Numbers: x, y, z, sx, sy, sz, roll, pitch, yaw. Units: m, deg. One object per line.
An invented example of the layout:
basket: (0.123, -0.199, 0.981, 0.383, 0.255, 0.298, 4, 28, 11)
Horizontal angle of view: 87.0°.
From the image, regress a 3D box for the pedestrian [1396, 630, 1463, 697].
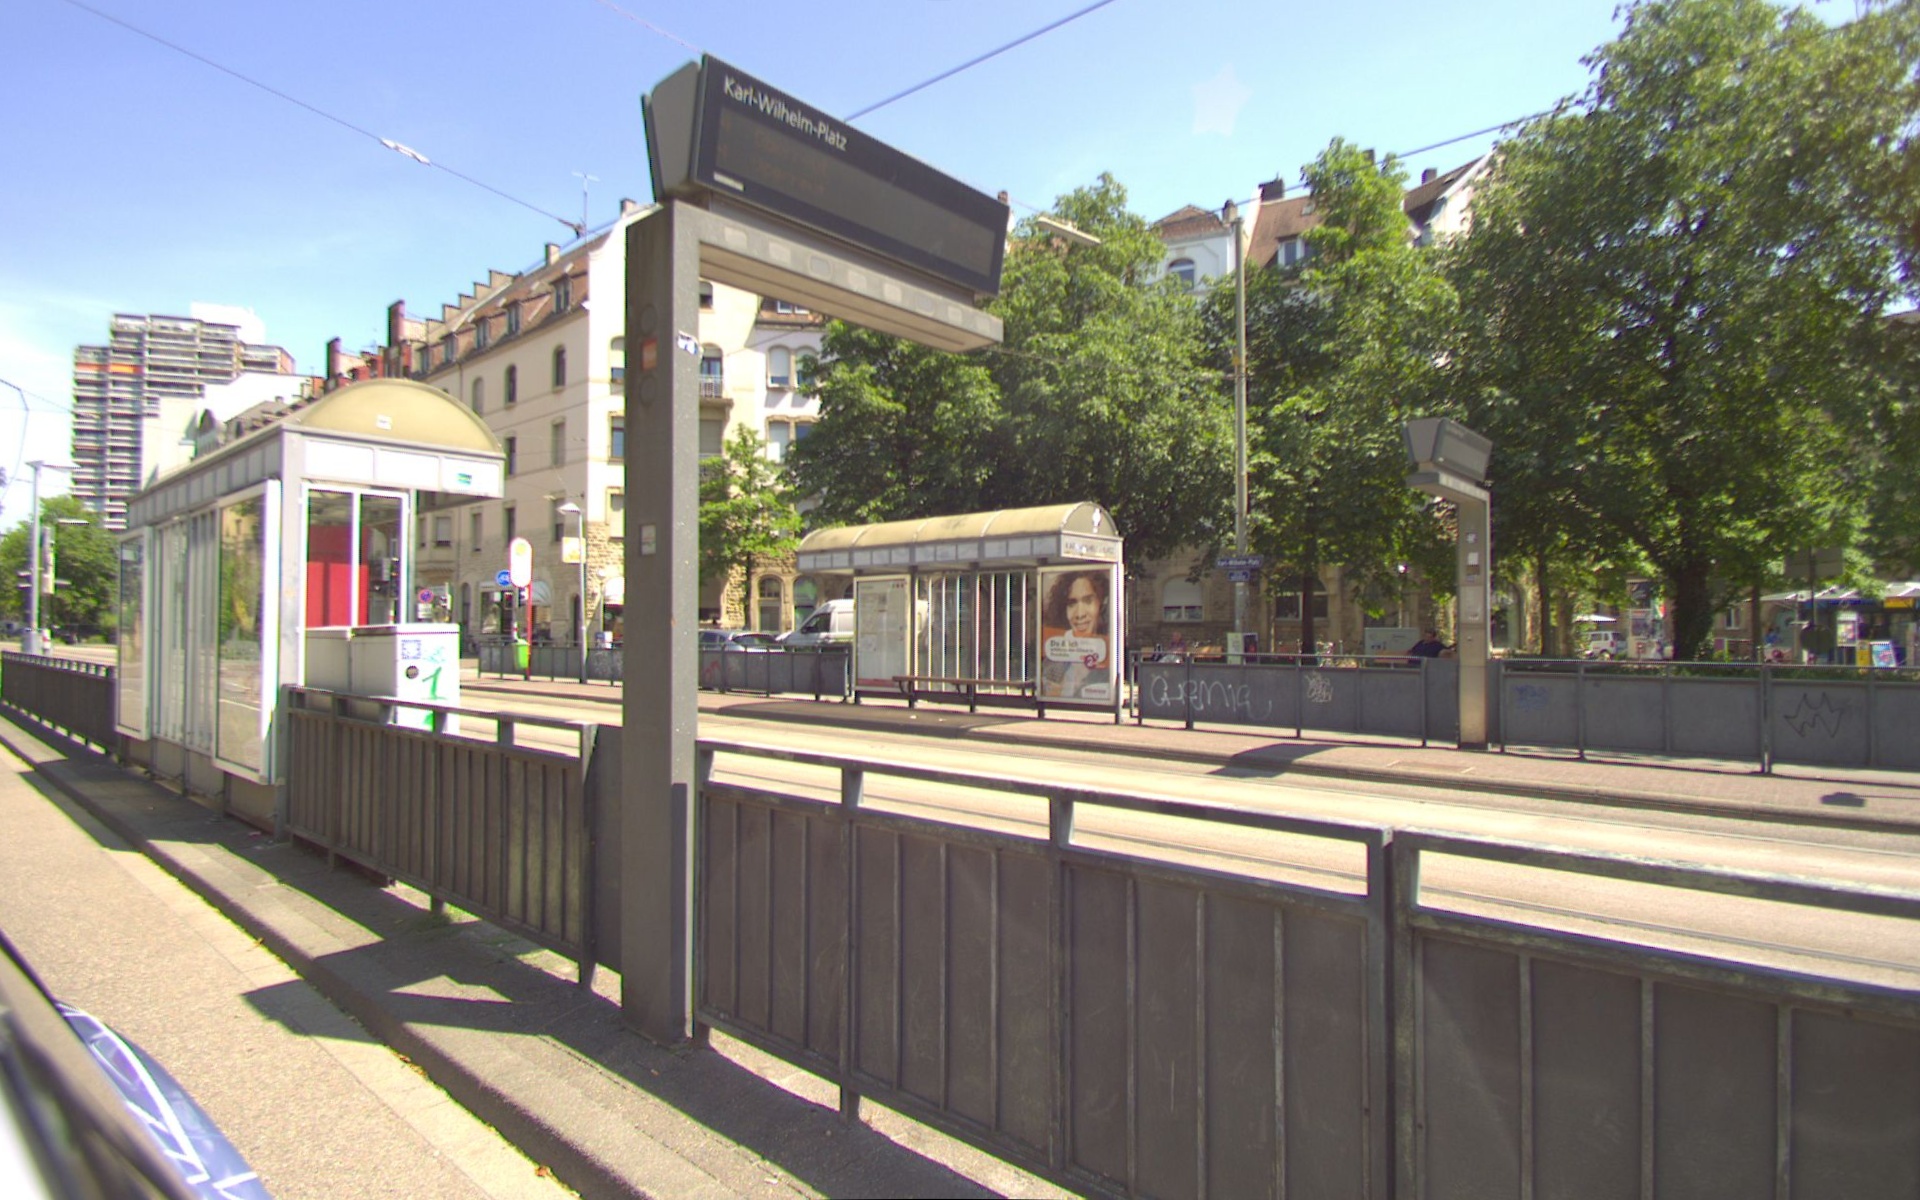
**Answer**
pedestrian: (9.291, 1.235, 20.034, 0.852, 1.253, 0.939, -1, 0, -43)

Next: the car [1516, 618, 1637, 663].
car: (26.728, 1.698, 44.003, 1.966, 1.803, 4.011, -1, 0, -33)

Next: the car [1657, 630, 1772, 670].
car: (35.797, 2.343, 48.095, 1.736, 1.721, 3.998, -1, 0, -33)

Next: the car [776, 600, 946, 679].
car: (-3.475, 1.369, 36.356, 5.754, 2.693, 2.271, -1, 0, 5)

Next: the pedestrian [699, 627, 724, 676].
pedestrian: (-7.974, 1.654, 32.490, 0.473, 1.563, 0.586, -2, -3, 39)

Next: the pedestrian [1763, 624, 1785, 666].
pedestrian: (33.394, 1.845, 41.537, 0.483, 1.683, 0.517, 1, -2, -27)

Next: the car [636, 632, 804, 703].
car: (-5.590, 1.485, 23.356, 3.998, 1.404, 1.789, -1, 0, 41)

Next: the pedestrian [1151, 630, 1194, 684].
pedestrian: (5.102, 1.351, 24.309, 0.930, 1.253, 0.860, -1, 0, 17)

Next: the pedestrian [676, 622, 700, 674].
pedestrian: (-8.874, 1.565, 33.006, 0.473, 1.659, 0.586, -2, -3, 41)
